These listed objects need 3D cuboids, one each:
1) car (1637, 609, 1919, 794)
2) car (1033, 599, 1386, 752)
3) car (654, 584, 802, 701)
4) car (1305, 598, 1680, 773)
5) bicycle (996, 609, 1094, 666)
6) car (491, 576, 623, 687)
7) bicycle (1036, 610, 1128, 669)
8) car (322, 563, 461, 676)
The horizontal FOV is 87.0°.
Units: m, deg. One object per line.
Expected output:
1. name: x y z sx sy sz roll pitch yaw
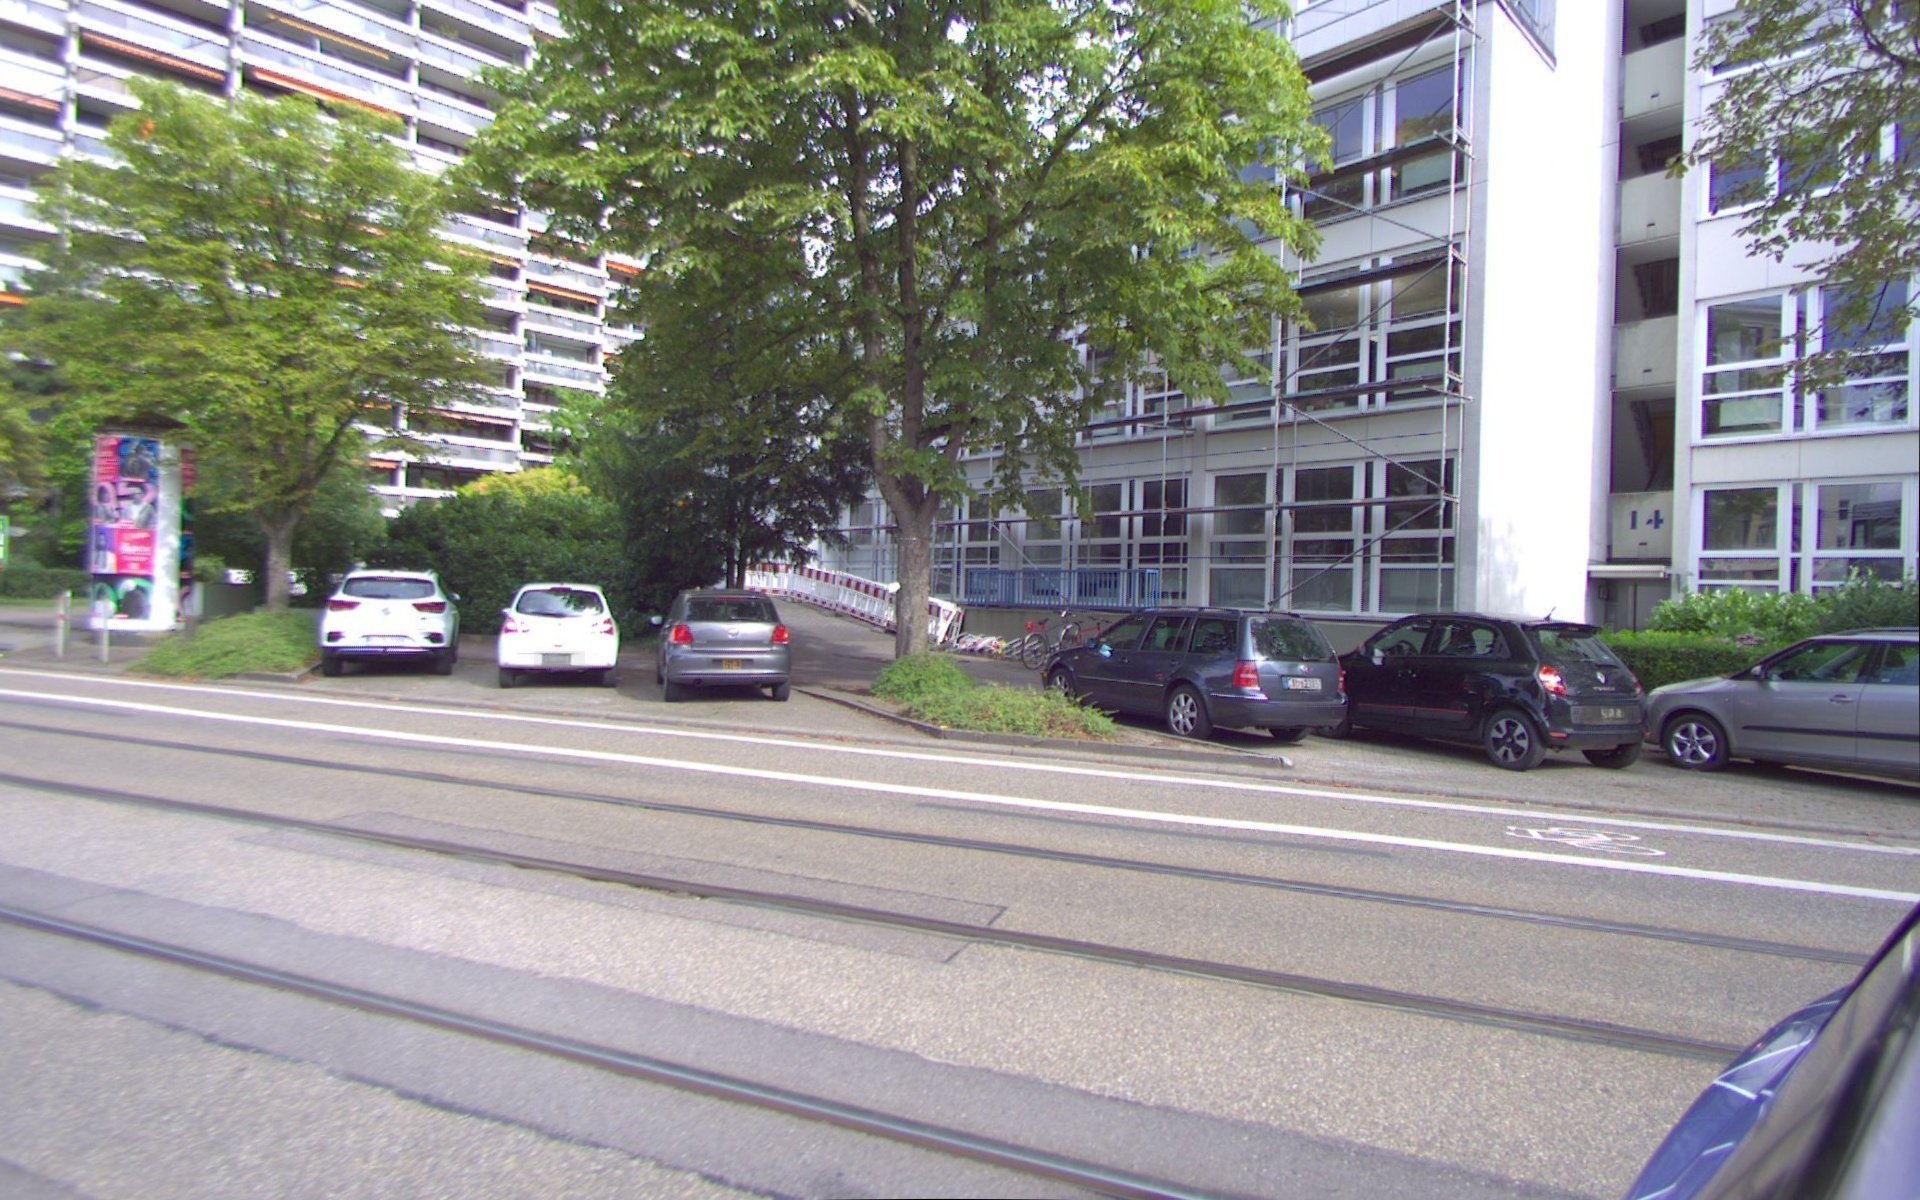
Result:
1. car: 8.944 0.933 9.494 1.562 1.557 4.059 2 0 -25
2. car: 2.740 0.753 12.136 1.779 1.433 4.176 2 0 -27
3. car: -3.421 0.520 14.453 1.646 1.437 3.654 2 0 -19
4. car: 5.676 0.810 11.228 1.562 1.557 3.424 2 0 -23
5. bicycle: 1.688 0.750 19.948 1.939 1.057 0.595 2 0 -33
6. car: -6.097 0.423 15.603 1.646 1.493 3.654 2 0 -19
7. bicycle: 2.357 0.753 19.342 1.944 1.057 0.593 2 0 -42
8. car: -9.115 0.271 16.468 1.647 1.623 3.653 2 0 -25
